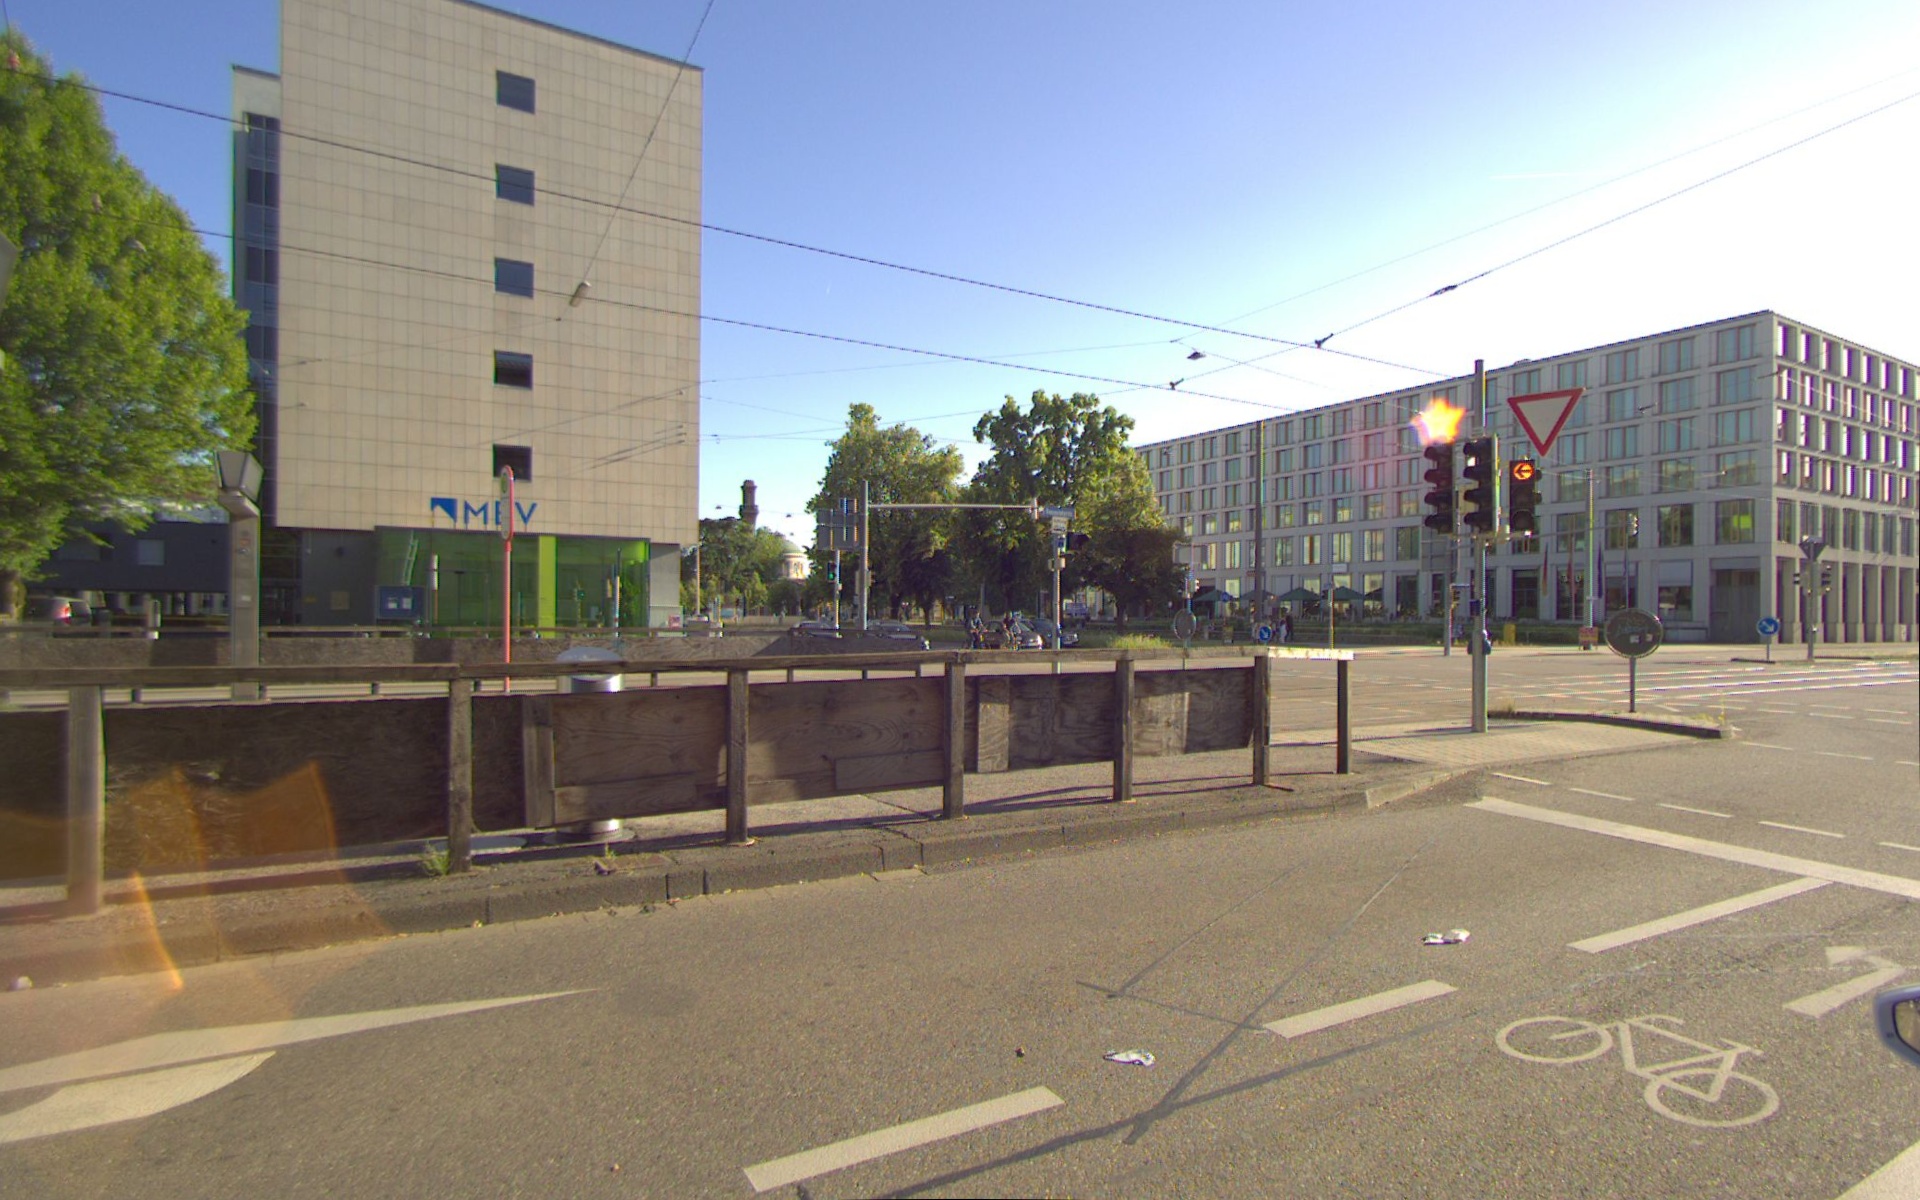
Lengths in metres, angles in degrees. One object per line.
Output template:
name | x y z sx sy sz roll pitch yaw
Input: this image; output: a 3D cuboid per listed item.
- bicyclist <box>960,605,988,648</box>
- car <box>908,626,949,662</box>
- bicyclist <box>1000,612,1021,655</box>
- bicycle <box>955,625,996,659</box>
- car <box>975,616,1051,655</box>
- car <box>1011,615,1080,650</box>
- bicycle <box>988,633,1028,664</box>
bicyclist | 0.555 1.063 40.120 0.833 1.717 0.887 1 -1 -24
car | -1.220 1.720 40.056 1.441 1.311 3.229 -1 0 1
bicyclist | 1.885 1.259 37.542 0.585 1.603 0.617 1 -1 -22
bicycle | 0.595 1.670 39.959 0.874 1.305 2.043 1 -1 -24
car | 2.223 1.484 42.948 1.505 1.526 3.511 1 0 -32
car | 4.027 1.525 48.005 1.505 1.526 3.511 1 0 -32
bicycle | 1.786 1.805 37.803 0.778 1.137 1.919 1 -1 -22
